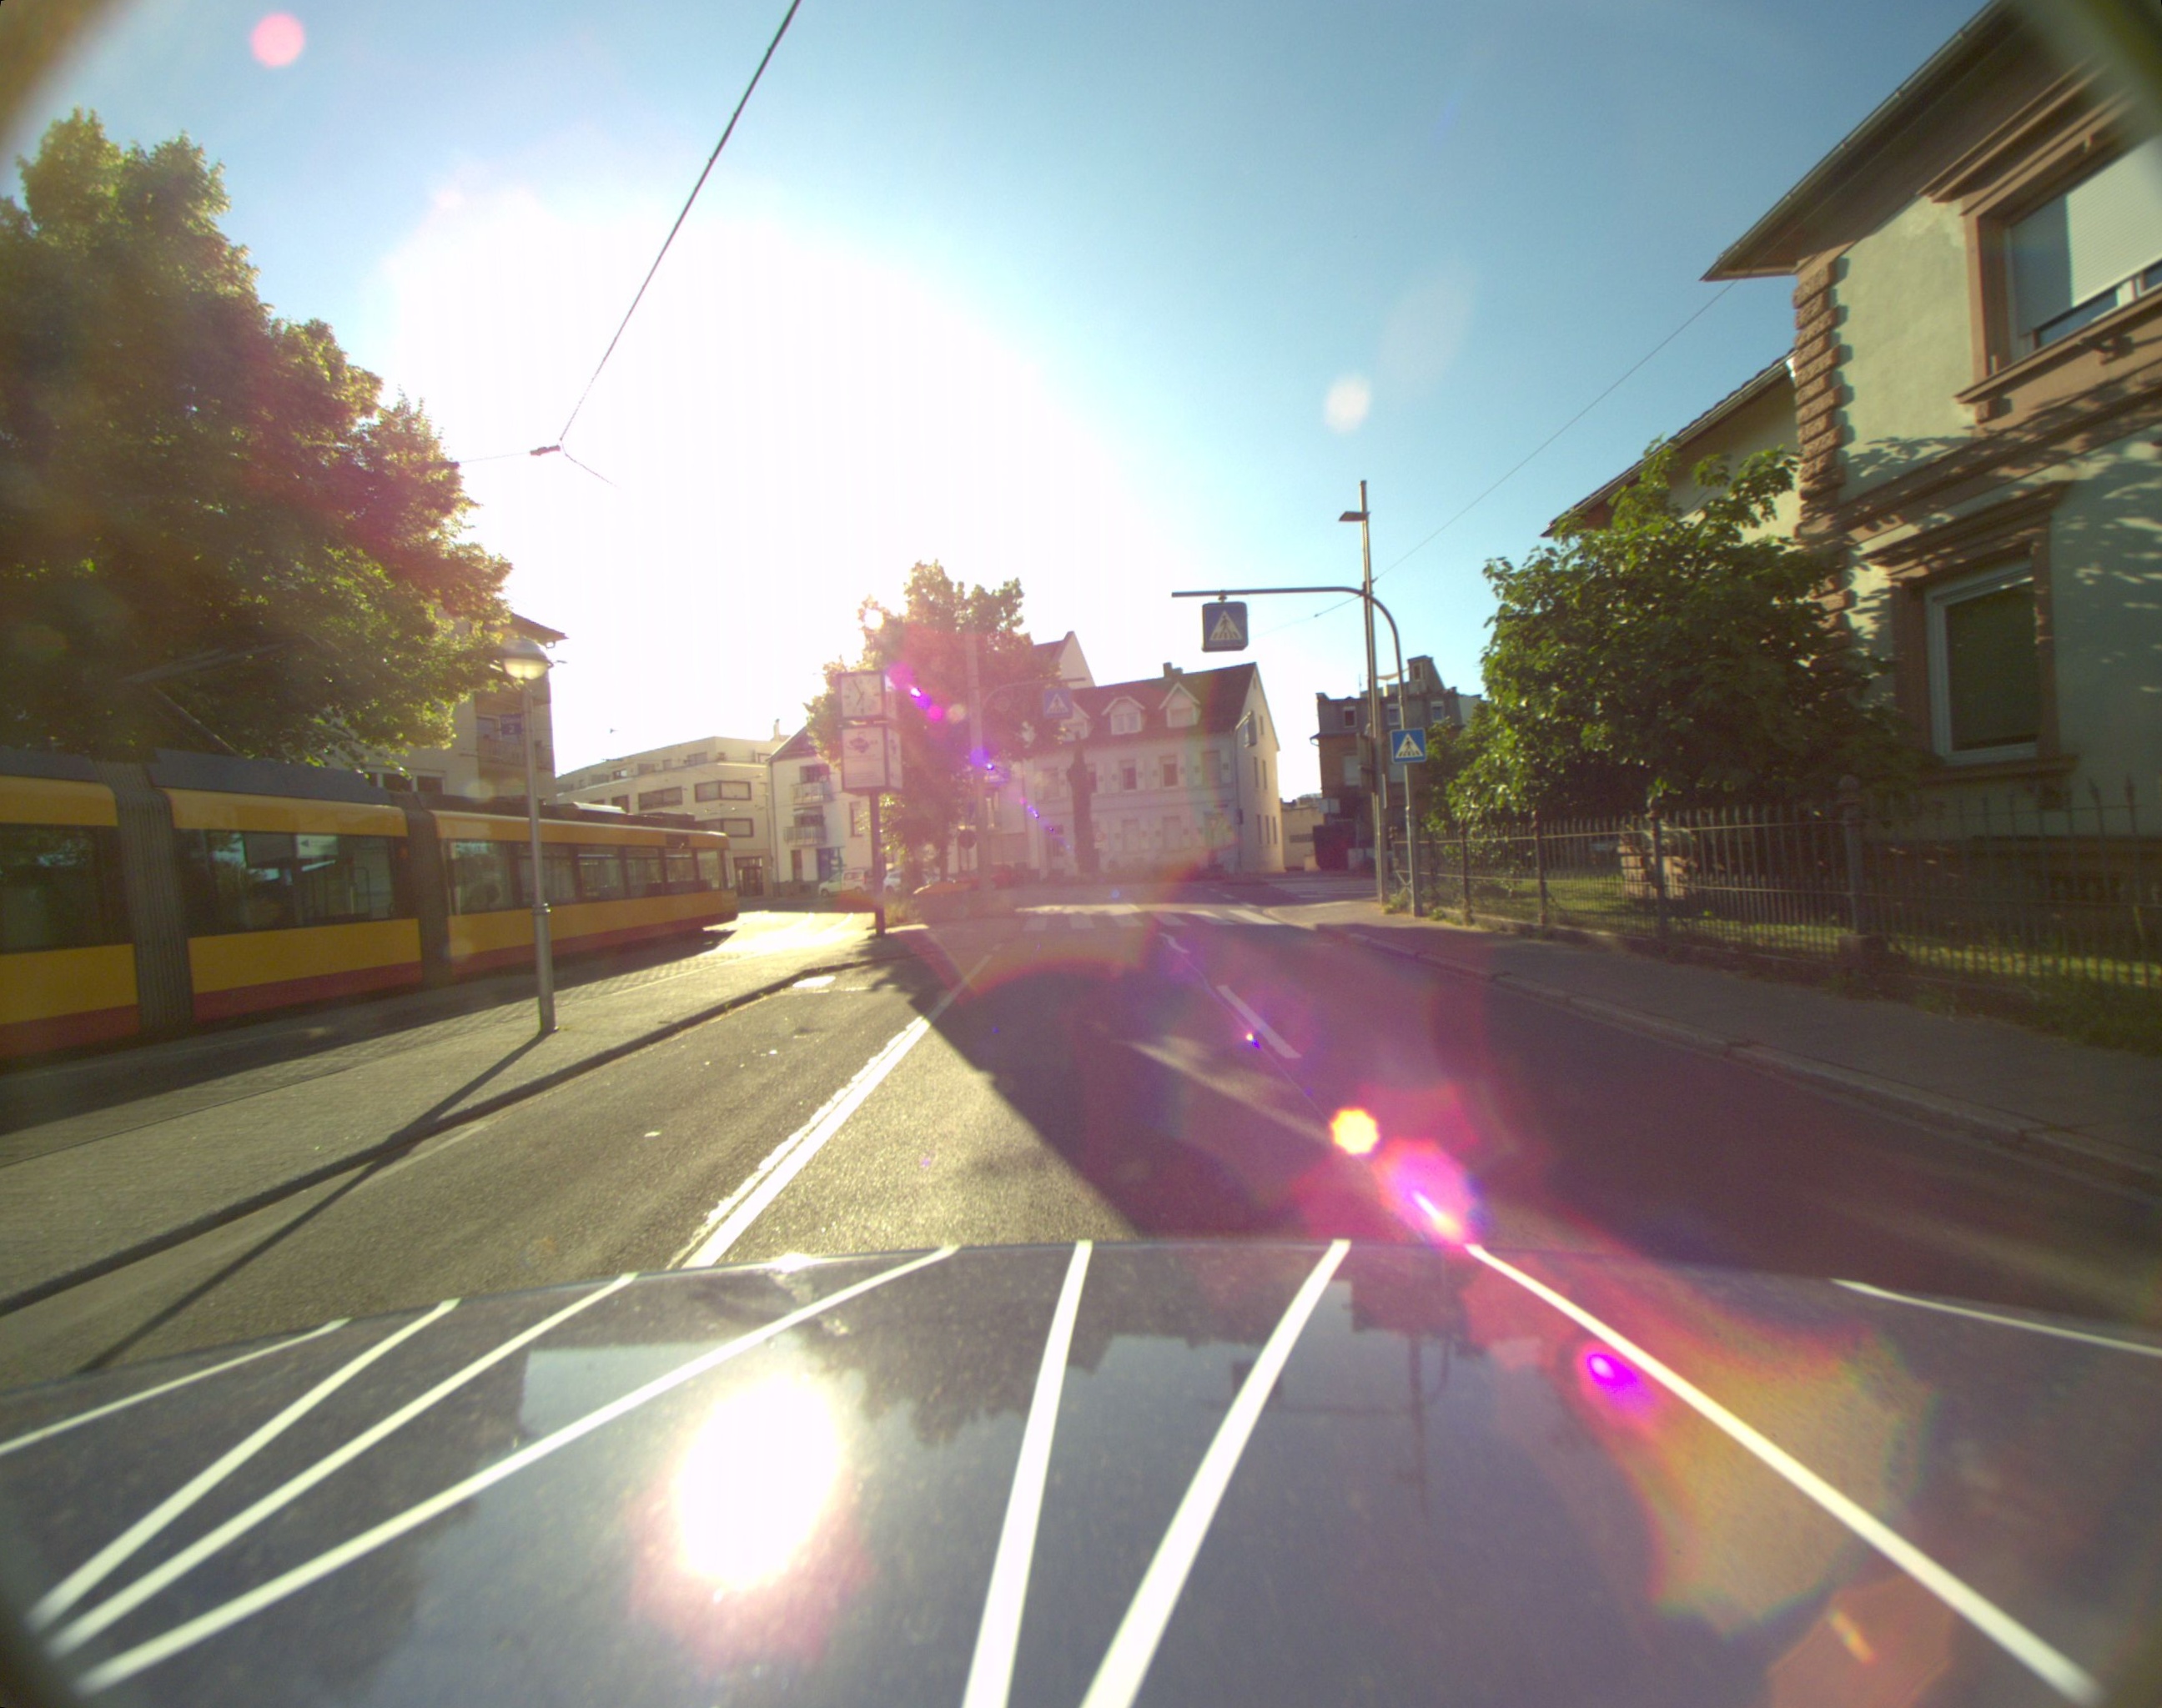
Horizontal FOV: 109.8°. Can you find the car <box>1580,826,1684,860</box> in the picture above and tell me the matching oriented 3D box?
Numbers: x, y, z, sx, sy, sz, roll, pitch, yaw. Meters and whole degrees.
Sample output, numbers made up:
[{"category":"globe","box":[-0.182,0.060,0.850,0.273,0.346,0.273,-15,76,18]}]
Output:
[{"category":"car","box":[28.147,-0.555,38.904,4.012,1.445,1.702,-3,0,4]}]

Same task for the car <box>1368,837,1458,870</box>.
[{"category":"car","box":[17.195,-0.029,39.505,3.879,1.445,1.702,-3,0,4]}]

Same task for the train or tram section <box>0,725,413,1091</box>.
[{"category":"train or tram section","box":[-11.504,0.528,3.401,2.965,3.401,15.939,-2,0,0]}]

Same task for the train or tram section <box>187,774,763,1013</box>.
[{"category":"train or tram section","box":[-11.715,0.631,17.917,2.965,3.401,13.462,-2,0,-1]}]

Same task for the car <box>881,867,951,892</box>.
[{"category":"car","box":[-10.724,1.653,49.413,4.116,1.339,1.938,-4,0,28]}]

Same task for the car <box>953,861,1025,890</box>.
[{"category":"car","box":[-5.678,1.341,46.835,4.196,1.453,1.610,-5,0,32]}]

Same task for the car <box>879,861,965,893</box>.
[{"category":"car","box":[-8.390,1.239,39.905,4.437,1.453,2.004,-3,-1,40]}]

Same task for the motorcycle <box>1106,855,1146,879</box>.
[{"category":"motorcycle","box":[2.560,0.739,42.945,2.104,1.220,0.625,-3,1,27]}]

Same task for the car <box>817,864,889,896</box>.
[{"category":"car","box":[-15.500,1.771,51.692,4.263,1.945,2.003,-2,0,20]}]
